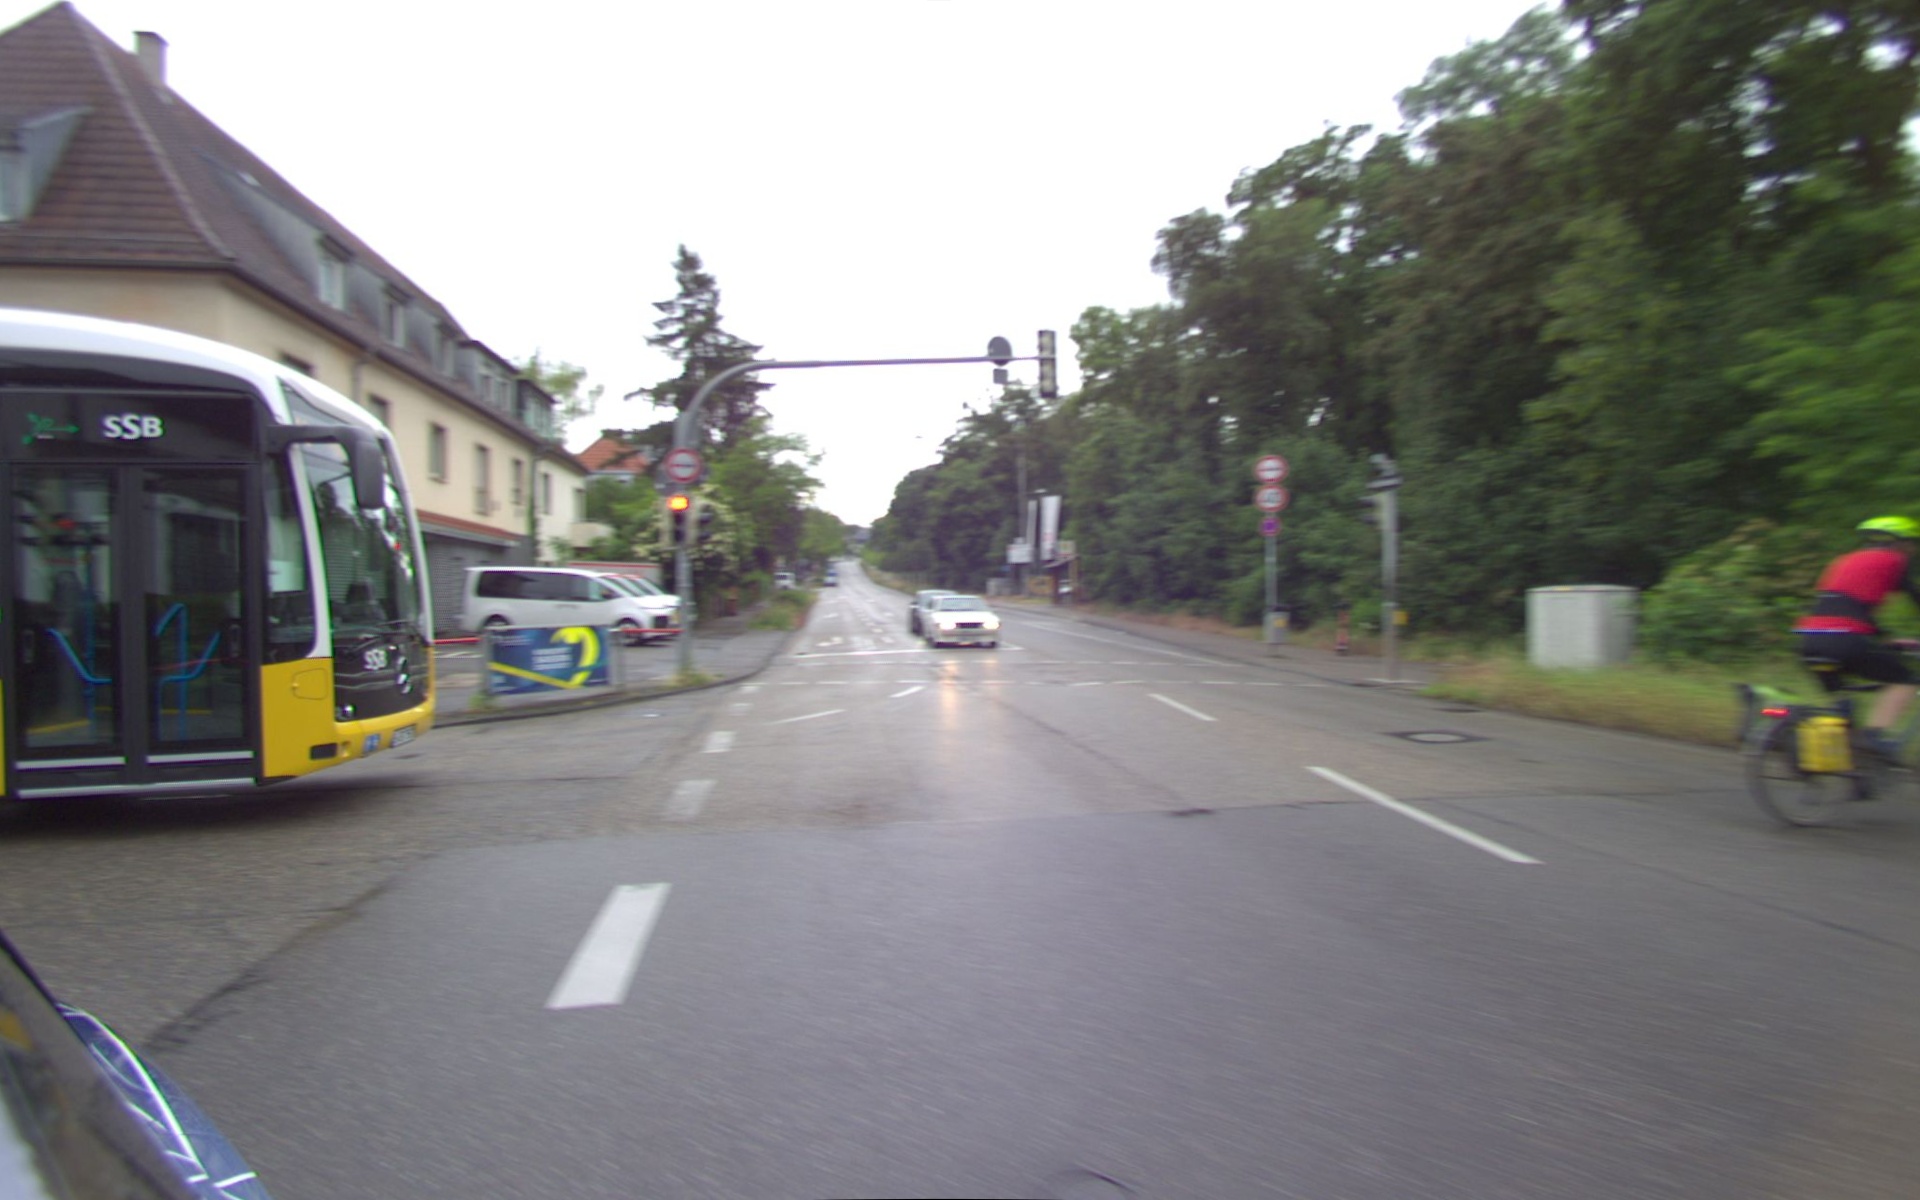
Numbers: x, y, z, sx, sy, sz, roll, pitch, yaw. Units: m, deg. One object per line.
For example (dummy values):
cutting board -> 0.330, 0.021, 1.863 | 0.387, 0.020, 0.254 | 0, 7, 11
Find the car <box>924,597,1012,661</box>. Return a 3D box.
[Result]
car -> 0.121, 0.681, 25.964 | 1.797, 1.364, 4.006 | -1, 2, -6

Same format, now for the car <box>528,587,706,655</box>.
car -> -11.034, 0.646, 32.881 | 5.103, 2.028, 2.003 | -1, 1, -5

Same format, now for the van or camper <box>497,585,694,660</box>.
van or camper -> -10.635, 0.618, 29.860 | 5.103, 2.028, 2.003 | -1, 1, -5

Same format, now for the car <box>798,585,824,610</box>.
car -> -12.421, -0.220, 84.335 | 1.973, 1.894, 4.006 | -1, 2, -6

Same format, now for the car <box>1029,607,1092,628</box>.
car -> 6.695, 1.170, 67.576 | 3.937, 1.209, 1.609 | -1, 1, -8

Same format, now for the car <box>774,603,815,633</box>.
car -> -8.697, 0.916, 53.433 | 1.973, 1.364, 4.006 | -1, 2, -6

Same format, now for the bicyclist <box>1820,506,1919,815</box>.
bicyclist -> 5.646, 0.307, 5.748 | 1.033, 1.665, 0.581 | -1, 1, -3

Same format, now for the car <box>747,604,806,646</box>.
car -> -7.113, 0.930, 39.580 | 1.973, 1.364, 4.006 | -1, 2, -6

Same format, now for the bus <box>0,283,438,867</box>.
bus -> -8.763, -0.059, 6.740 | 8.891, 3.424, 2.916 | -2, 0, -12

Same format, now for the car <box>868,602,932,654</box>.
car -> -1.950, 0.839, 32.104 | 1.797, 1.364, 4.006 | -1, 2, -6

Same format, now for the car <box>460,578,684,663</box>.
car -> -10.024, 0.479, 26.530 | 5.103, 2.028, 2.003 | -1, 1, -5

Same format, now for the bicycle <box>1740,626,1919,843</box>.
bicycle -> 5.708, 0.718, 5.762 | 2.122, 1.104, 0.581 | -2, 1, -3
